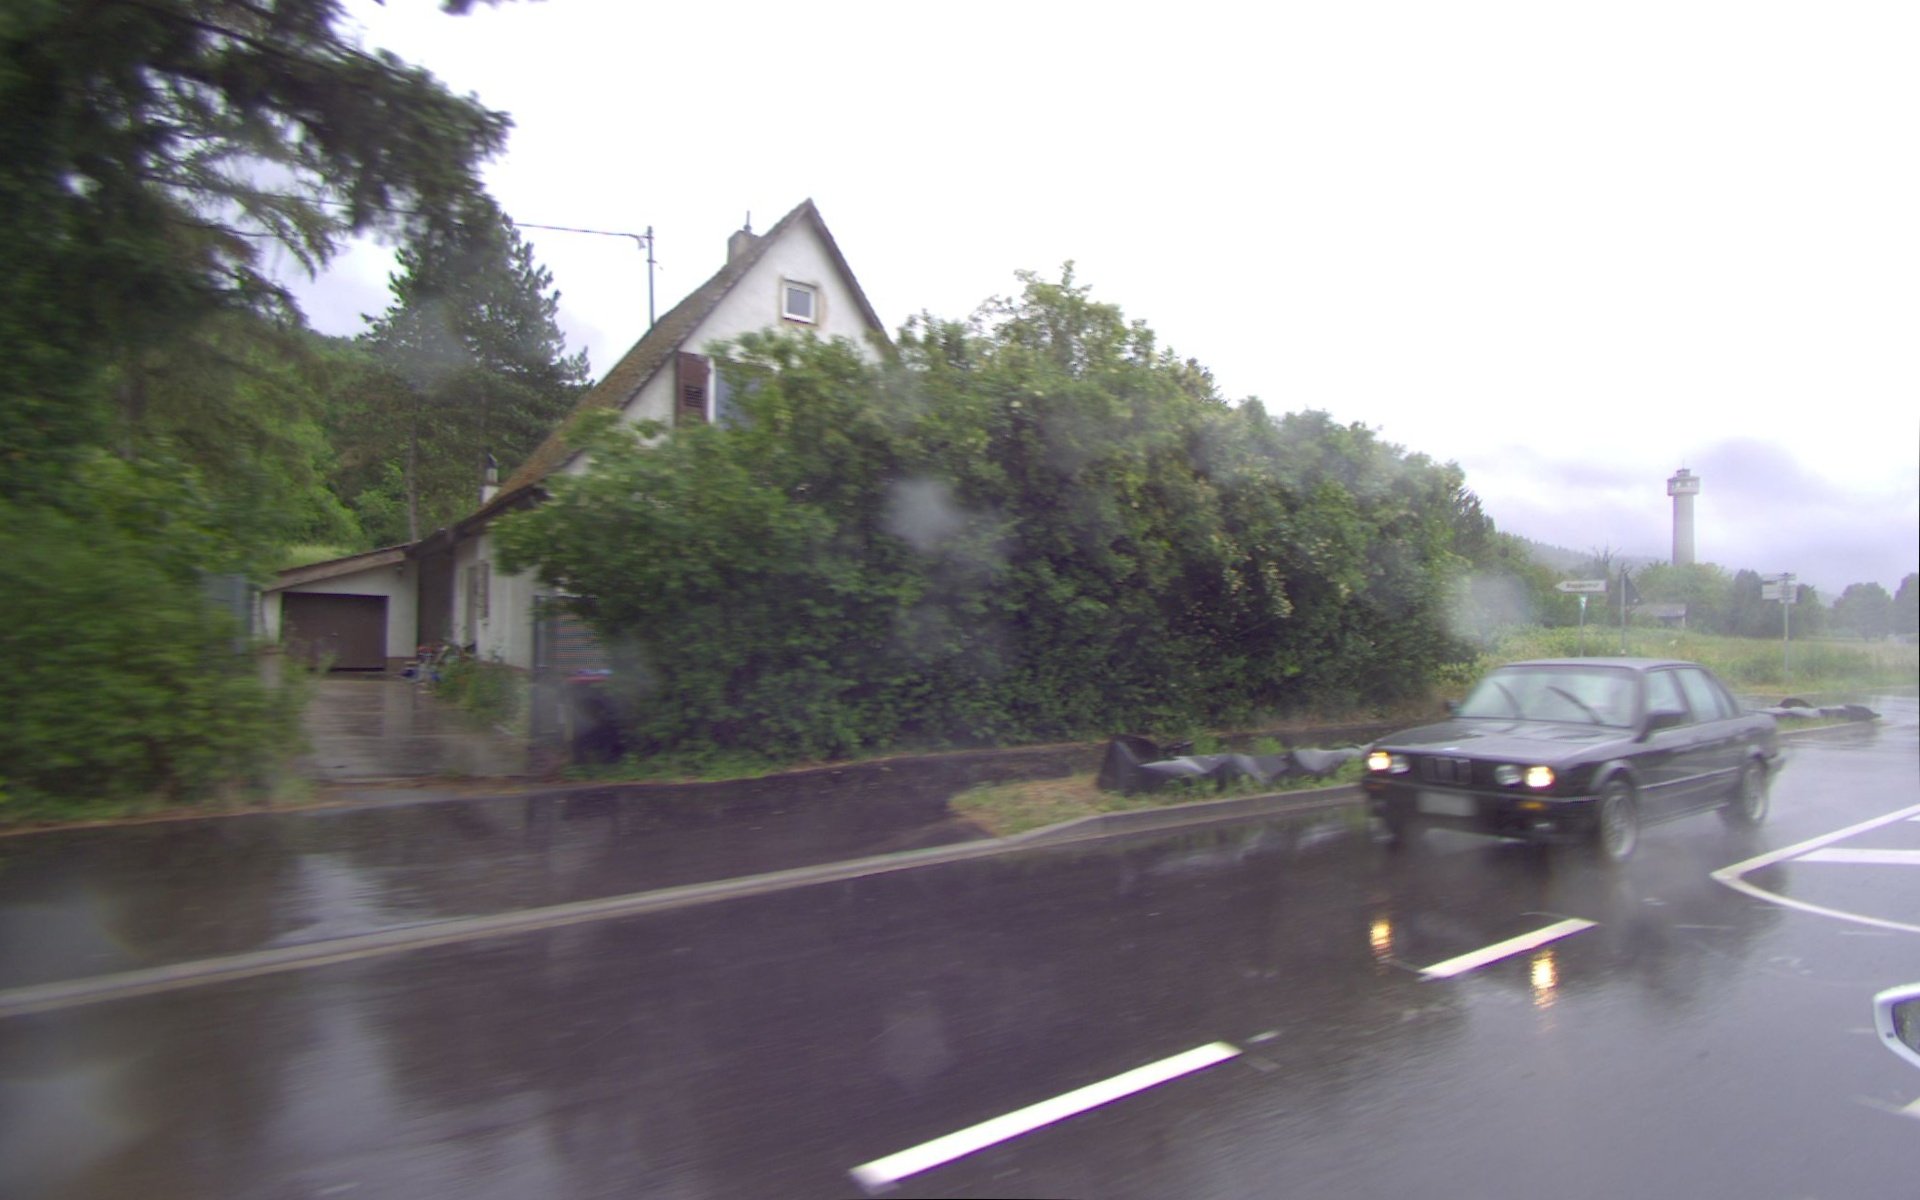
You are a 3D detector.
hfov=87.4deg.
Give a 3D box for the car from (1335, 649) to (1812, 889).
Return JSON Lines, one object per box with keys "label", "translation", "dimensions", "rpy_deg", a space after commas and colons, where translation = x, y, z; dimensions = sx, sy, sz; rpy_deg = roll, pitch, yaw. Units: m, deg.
{"label": "car", "translation": [4.943, 1.115, 7.905], "dimensions": [4.183, 1.400, 1.672], "rpy_deg": [2, -4, -36]}
